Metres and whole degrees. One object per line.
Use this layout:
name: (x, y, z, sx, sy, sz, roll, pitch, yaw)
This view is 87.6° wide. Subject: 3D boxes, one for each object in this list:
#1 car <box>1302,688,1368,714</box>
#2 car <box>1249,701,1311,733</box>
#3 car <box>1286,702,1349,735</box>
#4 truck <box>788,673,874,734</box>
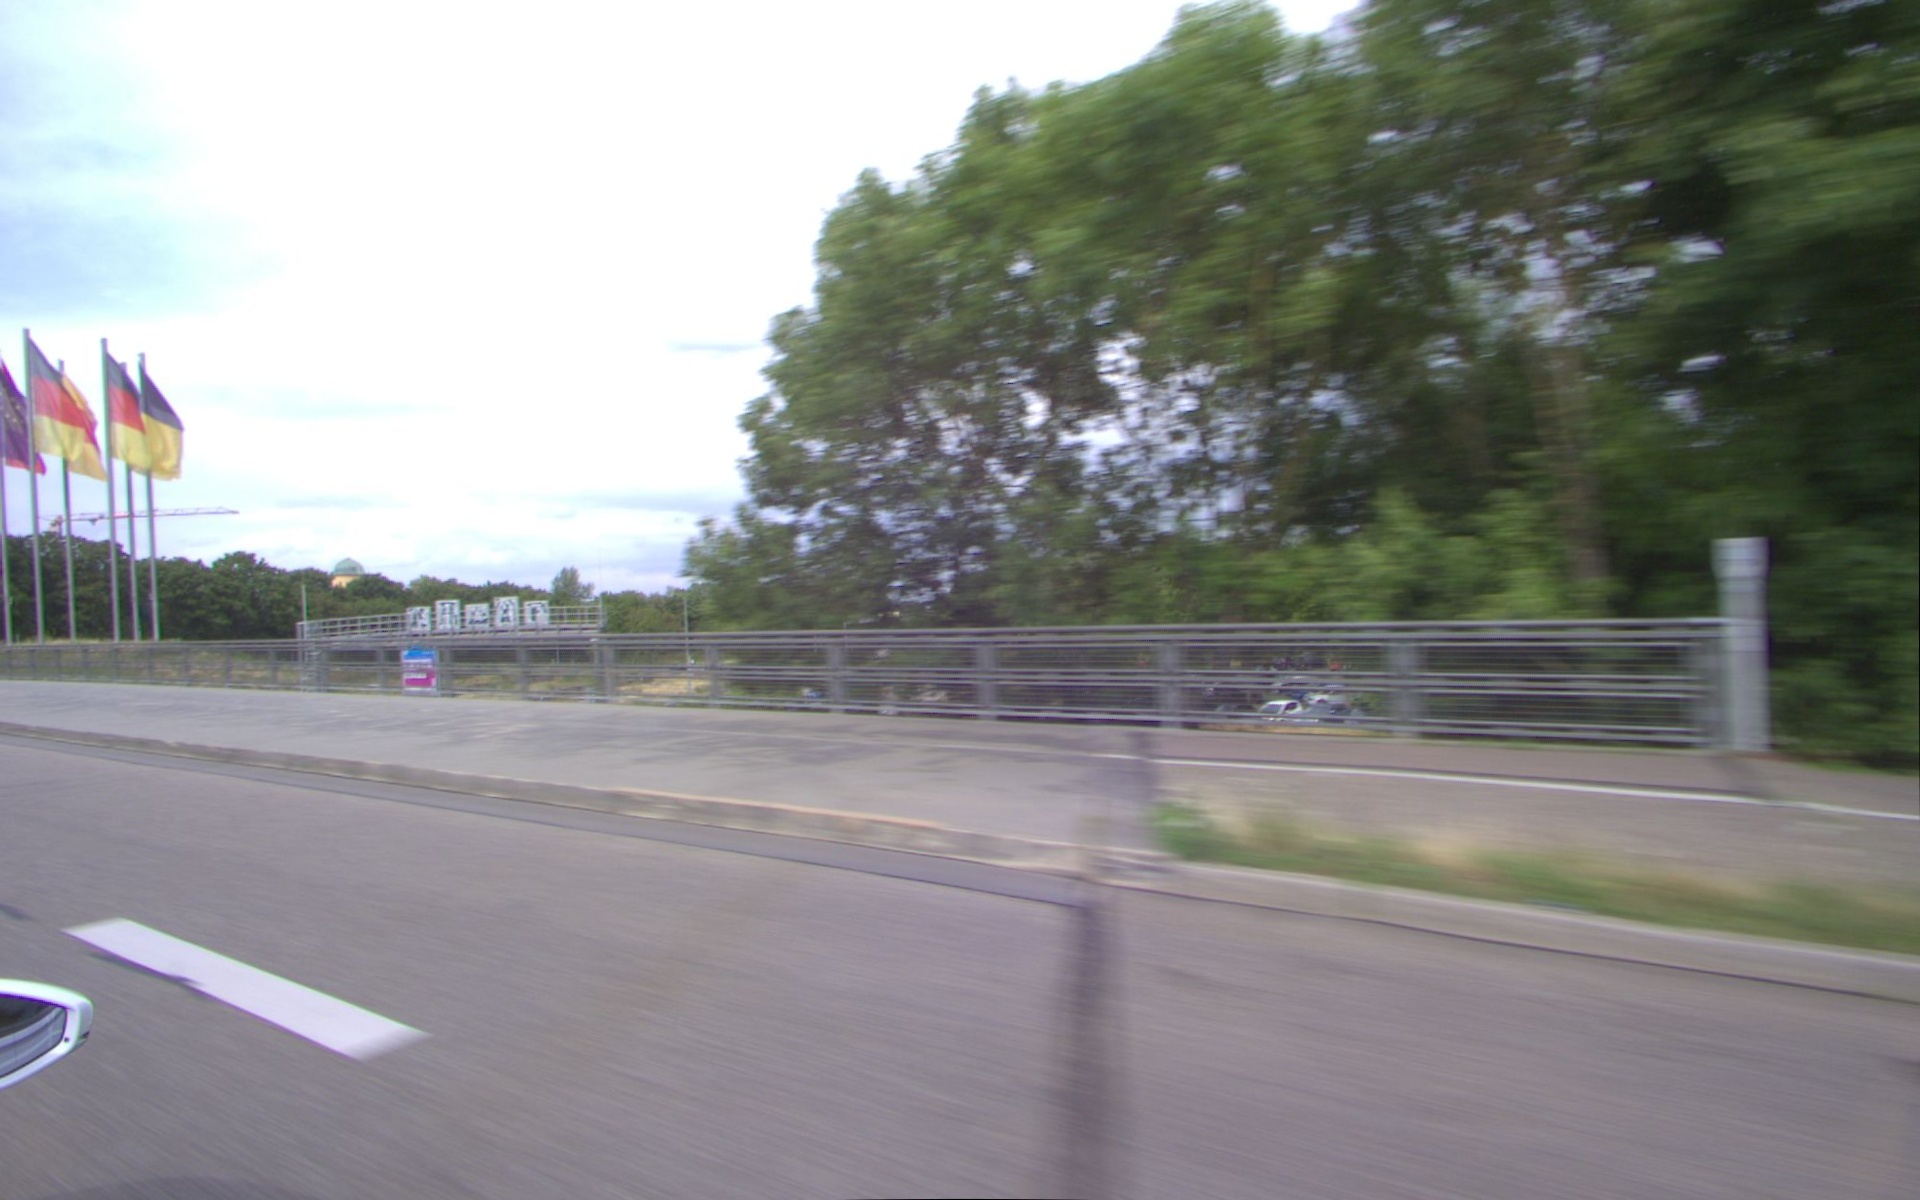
car: (26.991, 7.257, 72.128, 3.925, 1.594, 2.000, -1, -2, -11)
car: (19.539, 7.081, 61.134, 3.962, 1.594, 1.981, 1, -3, -45)
car: (21.161, 6.975, 59.198, 3.962, 1.594, 1.981, 1, -3, -45)
truck: (-9.464, 7.634, 75.821, 3.293, 3.664, 13.999, -1, -2, 6)
